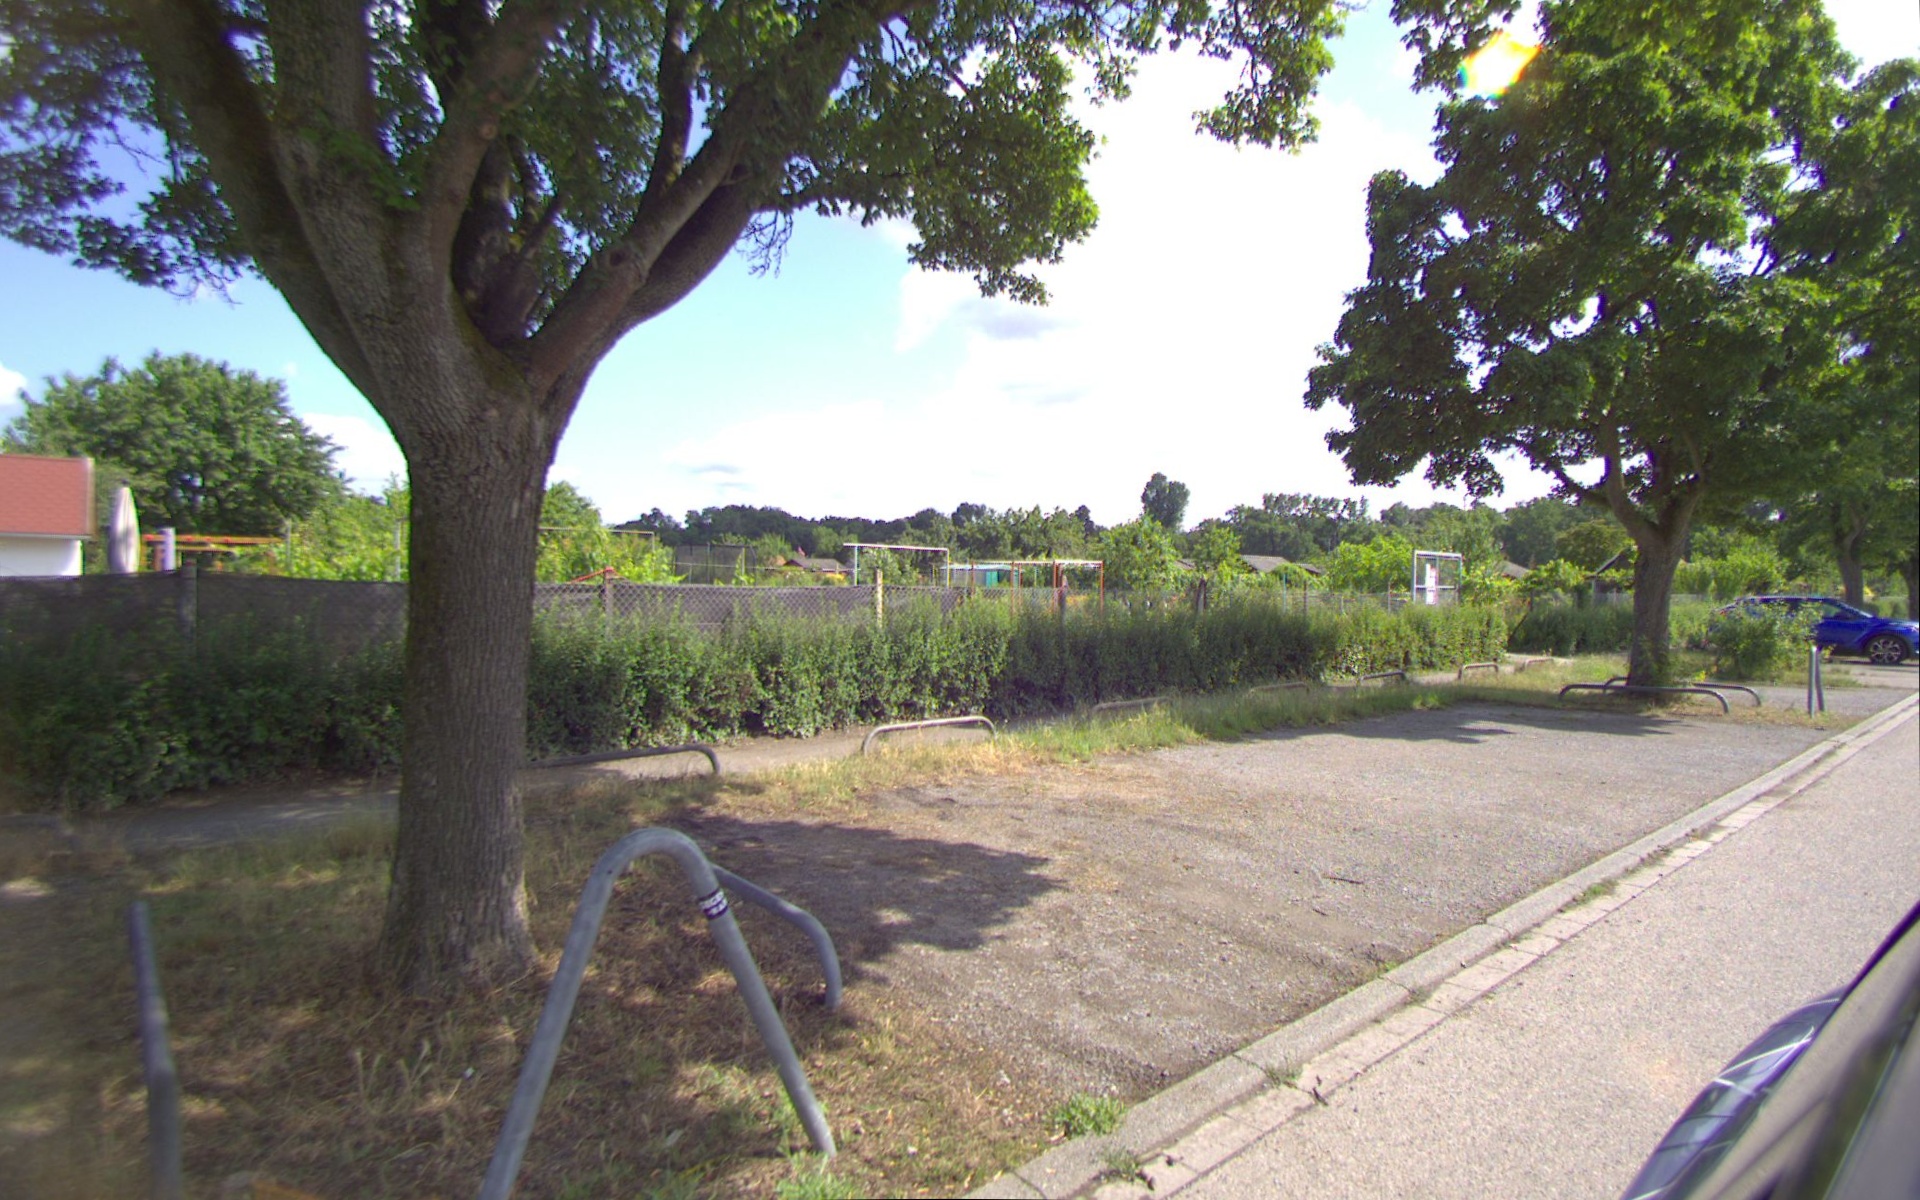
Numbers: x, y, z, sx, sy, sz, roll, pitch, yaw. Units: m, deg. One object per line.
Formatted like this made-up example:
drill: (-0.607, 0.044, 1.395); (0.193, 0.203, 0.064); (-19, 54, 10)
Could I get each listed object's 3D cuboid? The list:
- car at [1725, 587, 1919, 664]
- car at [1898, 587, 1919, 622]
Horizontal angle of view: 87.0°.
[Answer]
car: (20.662, 0.548, 23.700); (1.750, 1.602, 4.111); (0, 2, -42)
car: (49.506, 0.209, 50.419); (1.965, 1.772, 3.925); (-1, 1, -41)
